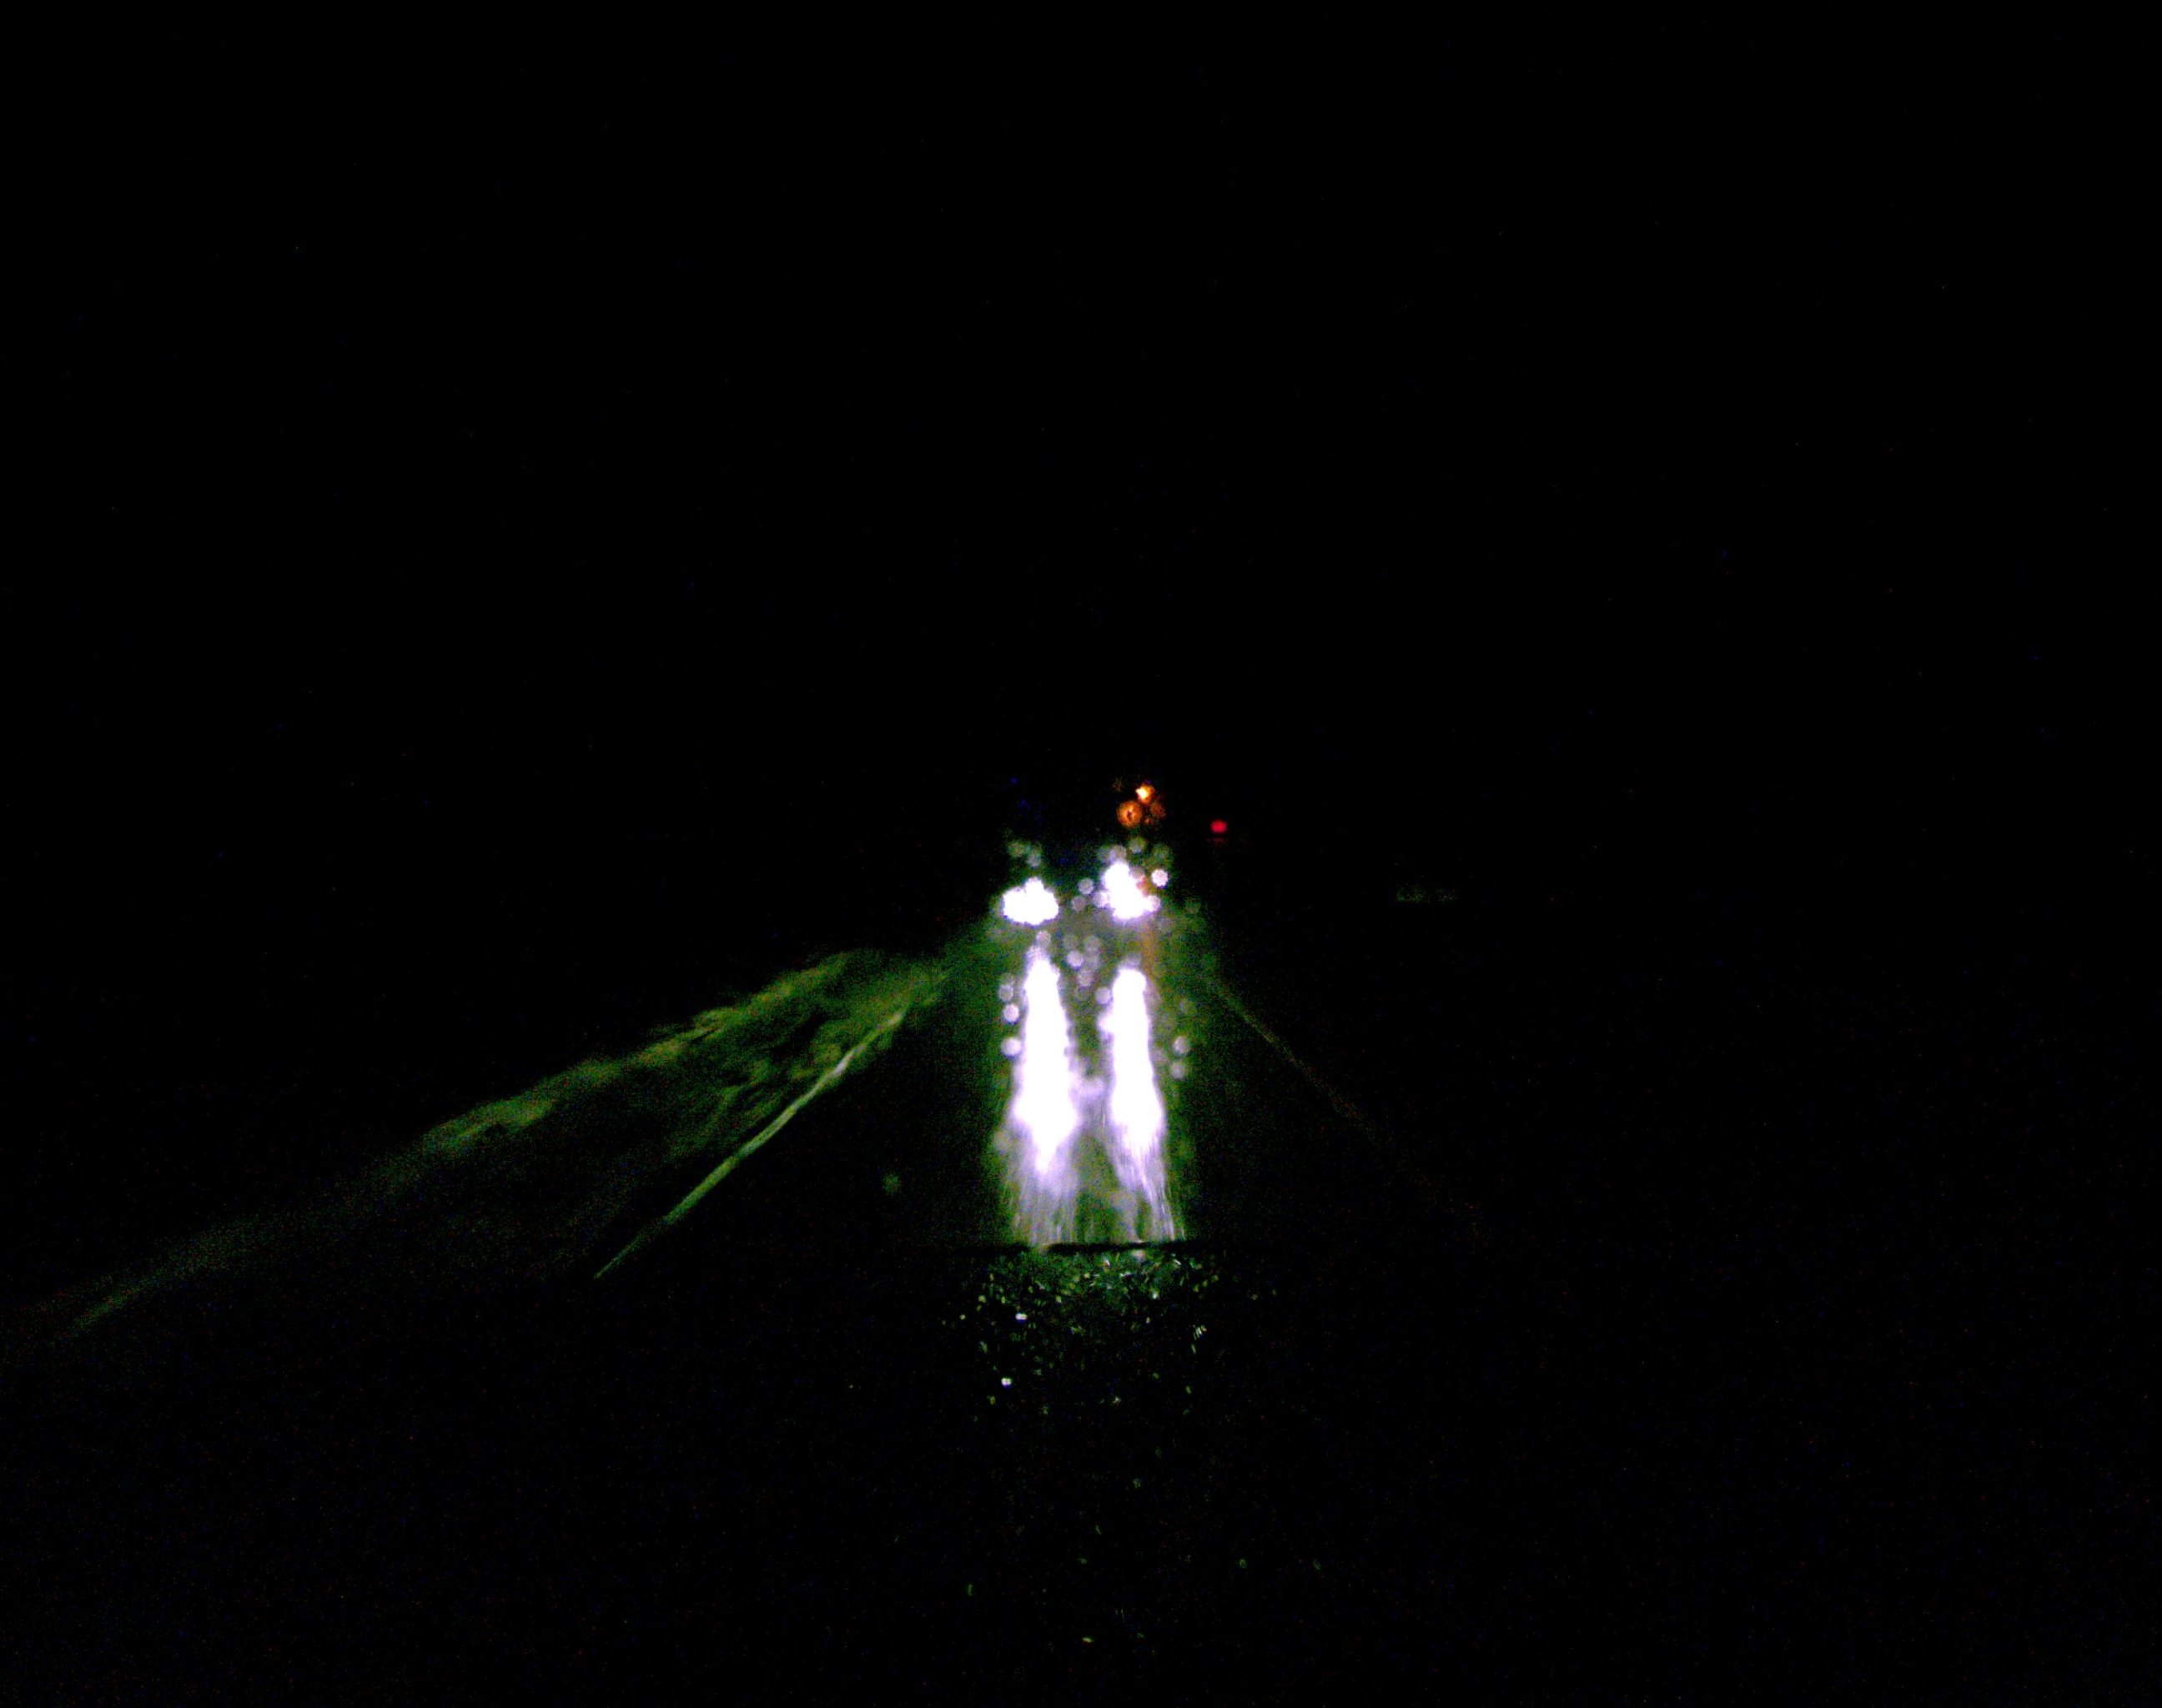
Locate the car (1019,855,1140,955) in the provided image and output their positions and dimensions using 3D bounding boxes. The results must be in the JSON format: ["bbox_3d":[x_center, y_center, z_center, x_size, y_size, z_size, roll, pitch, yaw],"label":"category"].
[{"bbox_3d":[0.026,0.827,14.642,1.944,1.580,4.775,-1,0,1],"label":"car"}]
